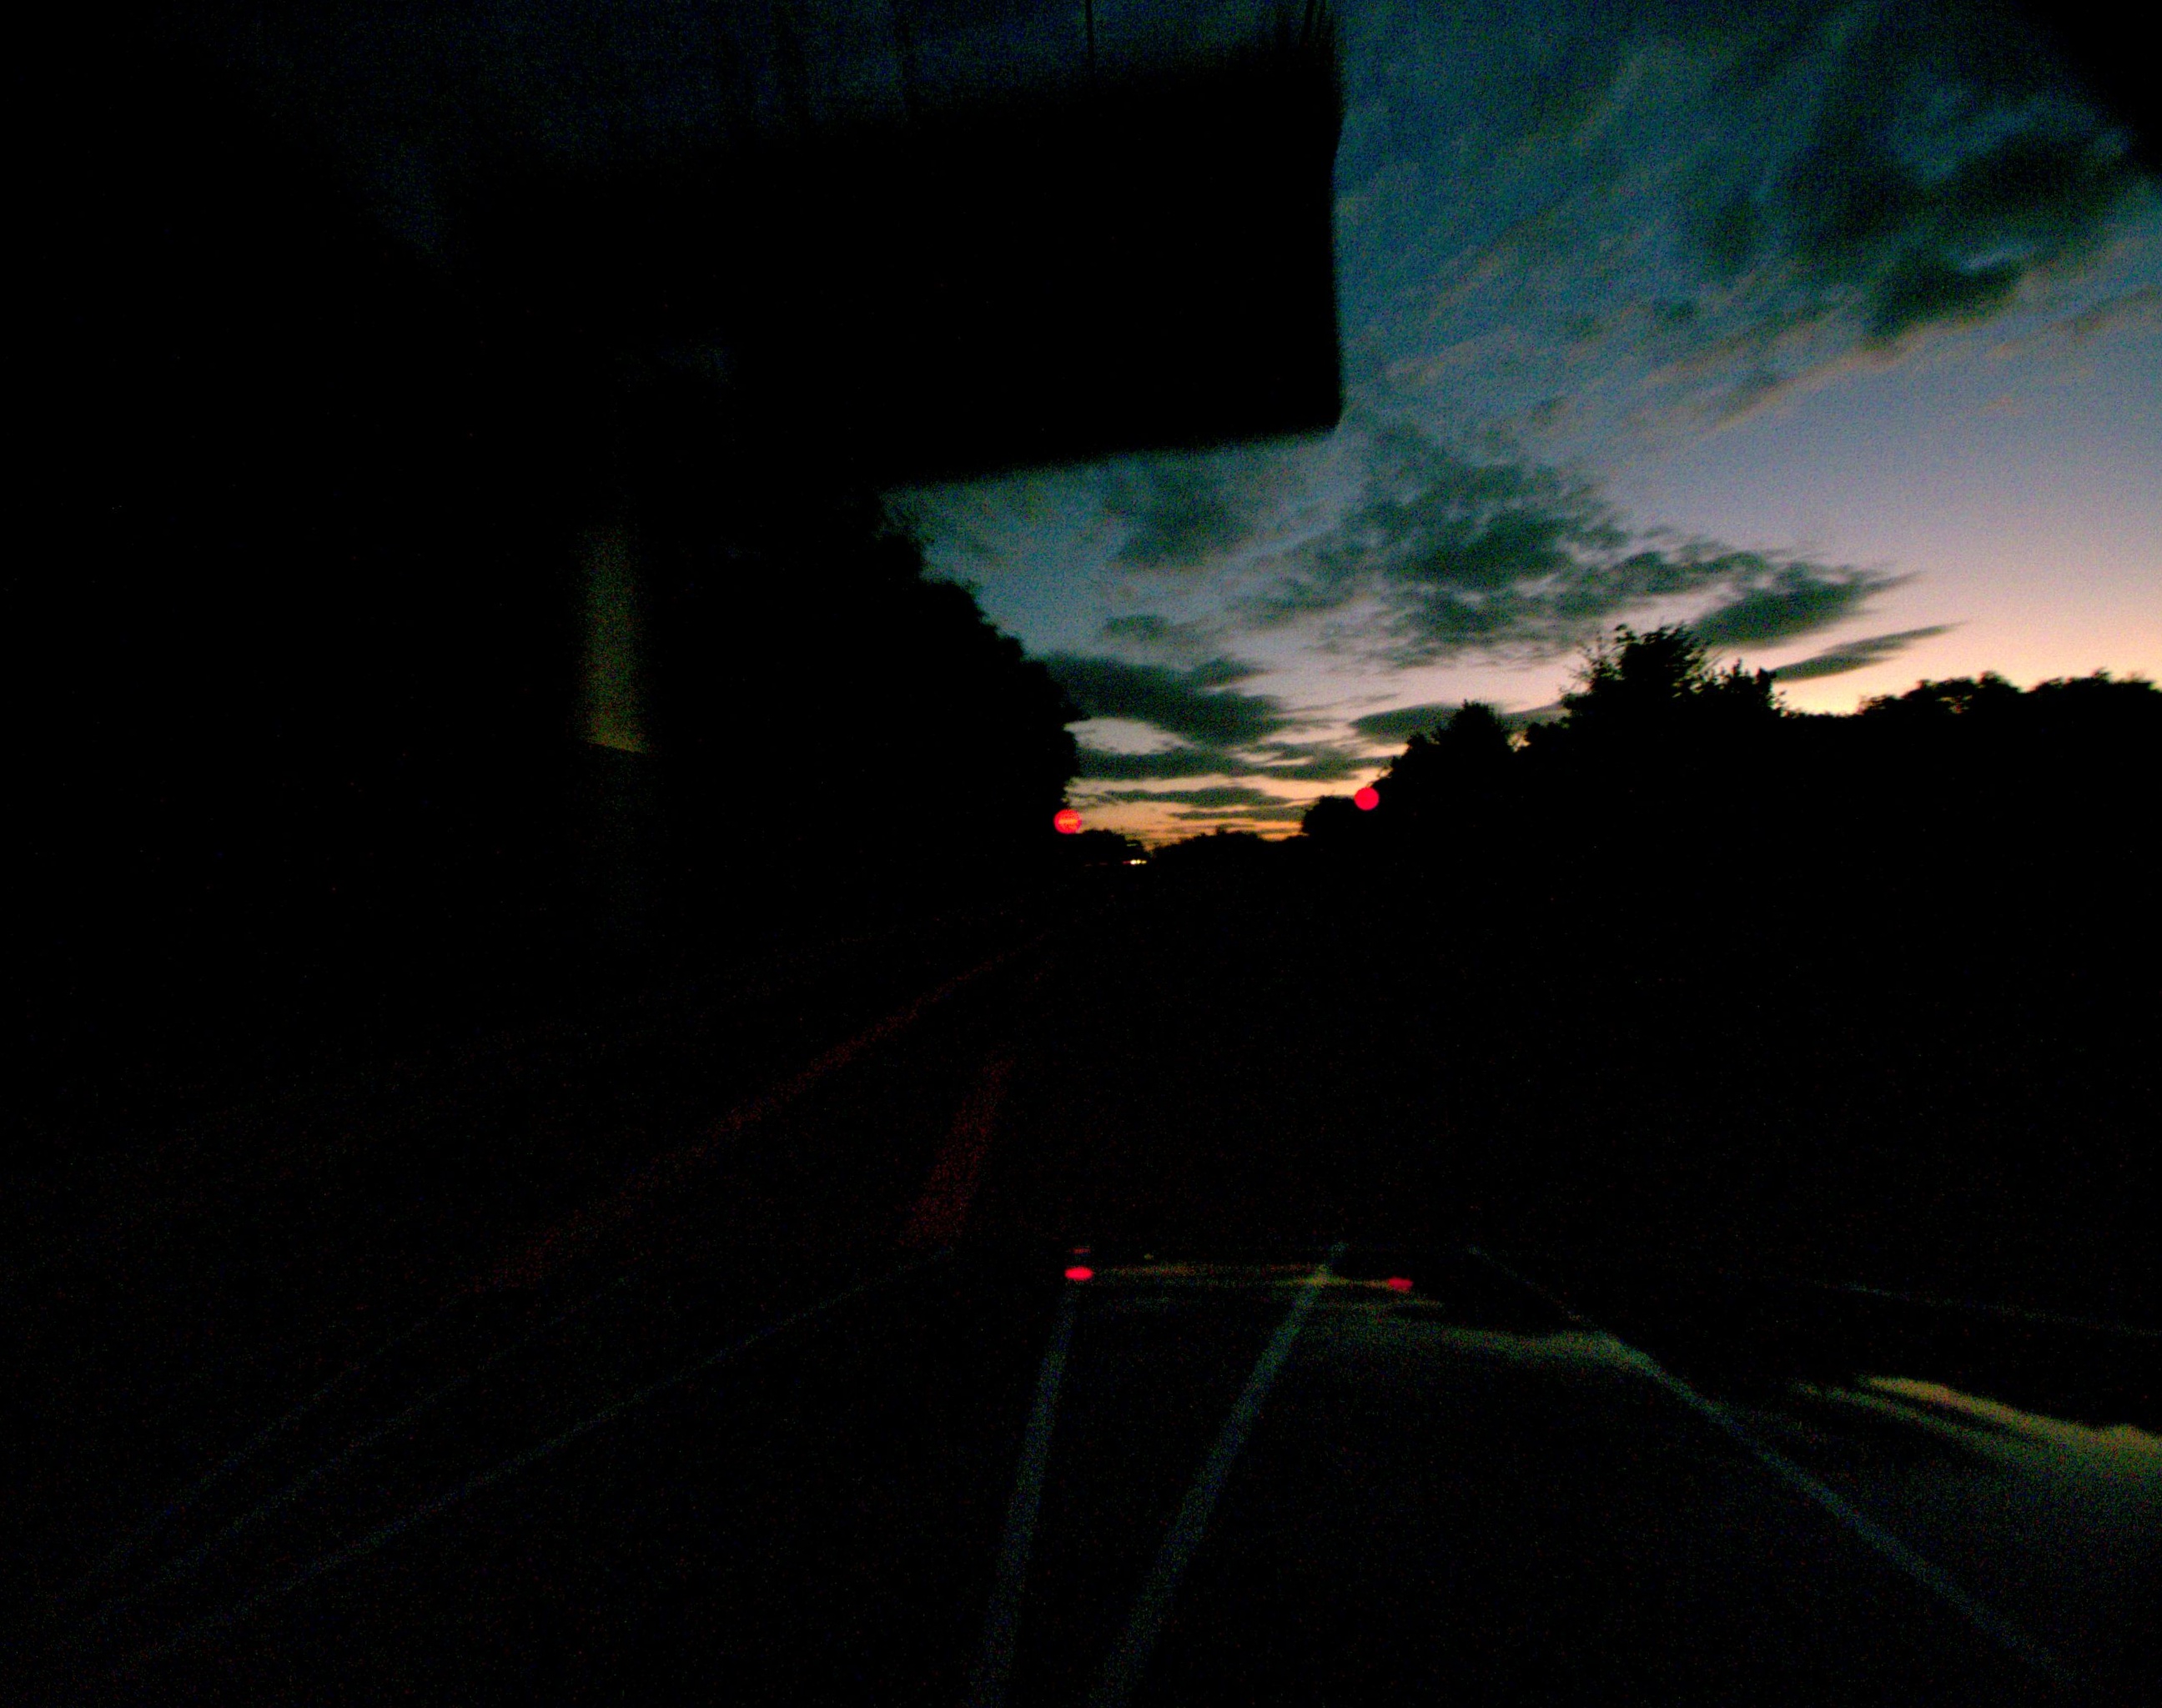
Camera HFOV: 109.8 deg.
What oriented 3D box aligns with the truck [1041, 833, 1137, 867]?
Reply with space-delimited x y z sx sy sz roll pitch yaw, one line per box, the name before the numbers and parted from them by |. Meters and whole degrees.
truck | 0.954 -0.463 115.188 16.971 4.642 2.528 -2 2 42
